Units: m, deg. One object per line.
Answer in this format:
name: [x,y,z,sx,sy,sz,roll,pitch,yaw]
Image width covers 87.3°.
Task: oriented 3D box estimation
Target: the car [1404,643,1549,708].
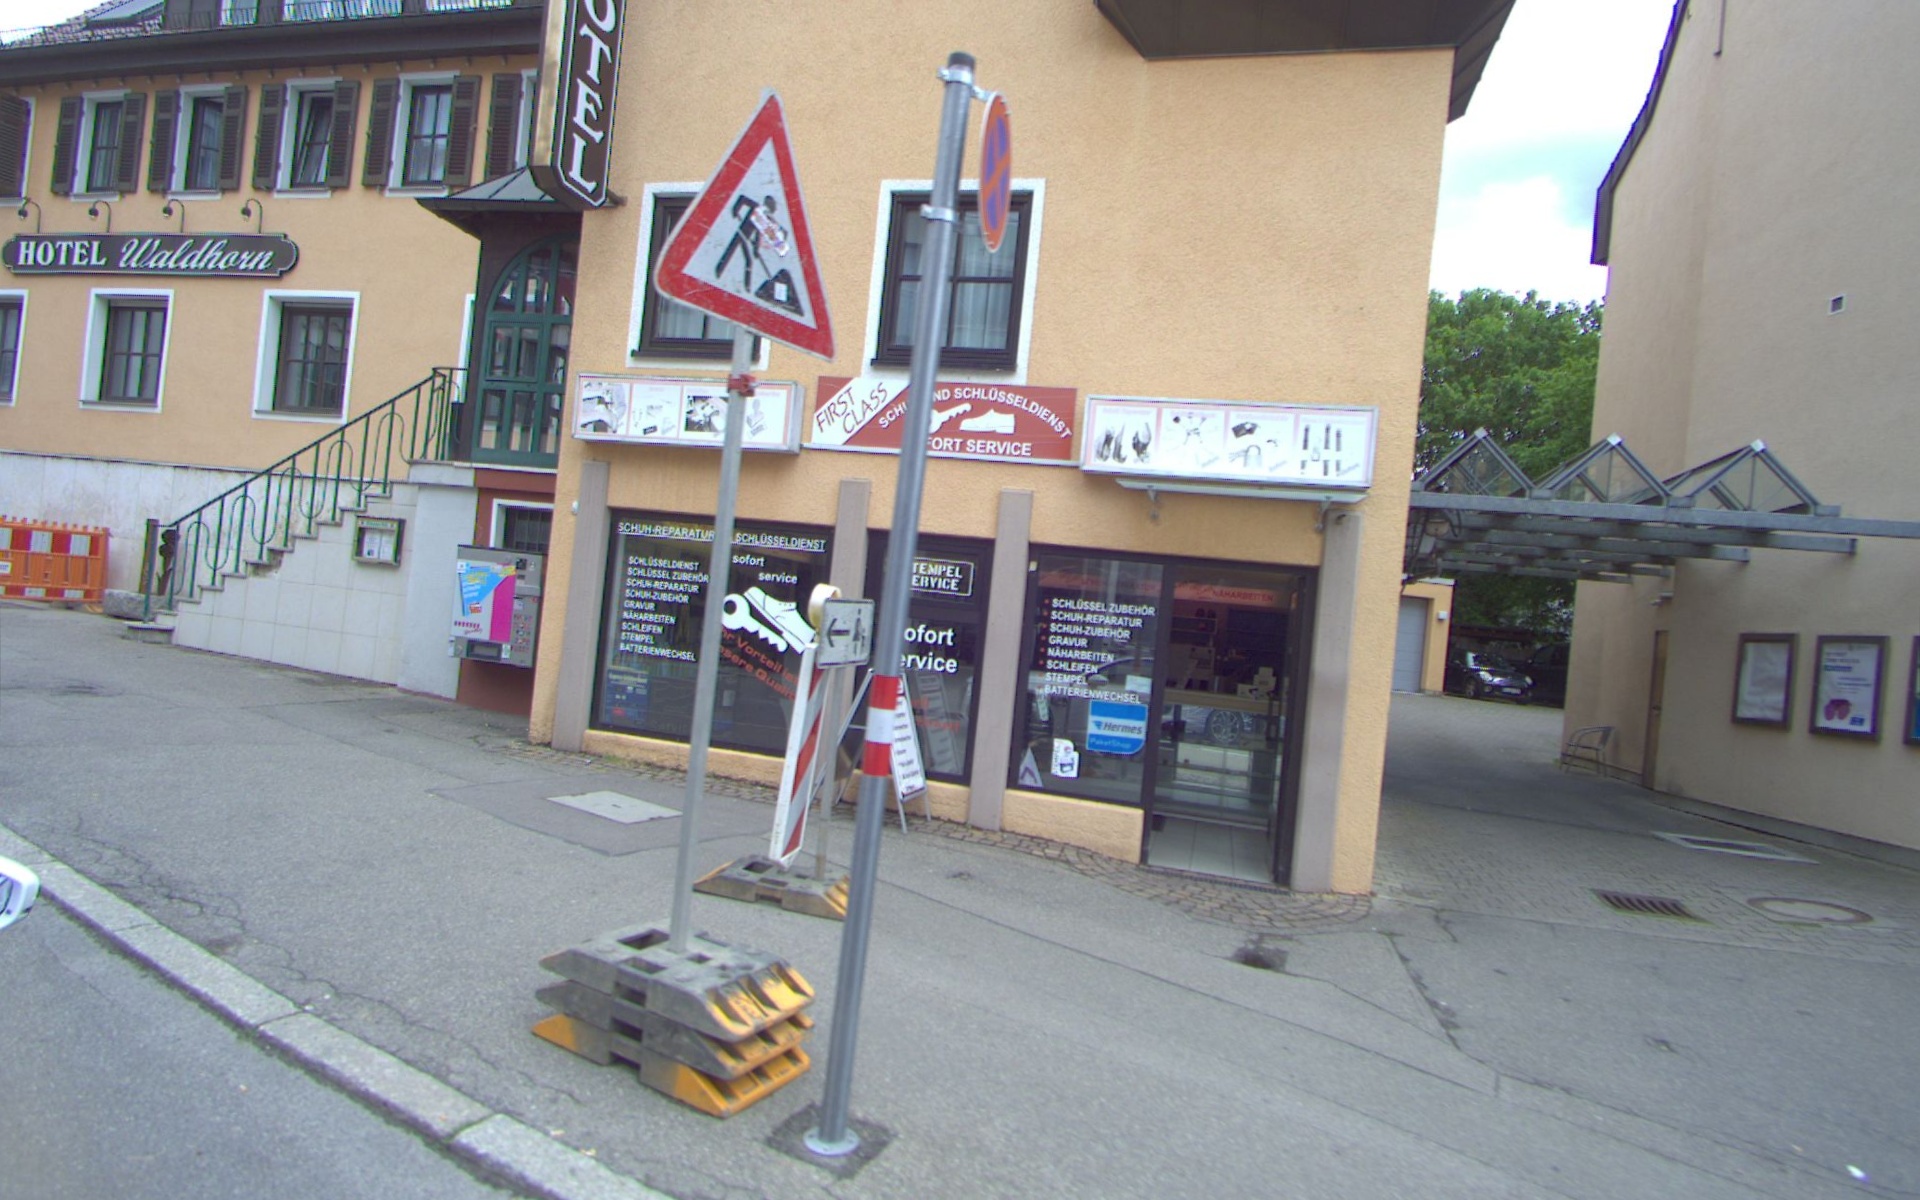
car: [15.172,2.165,29.820,1.964,1.415,3.998,7,0,-3]
